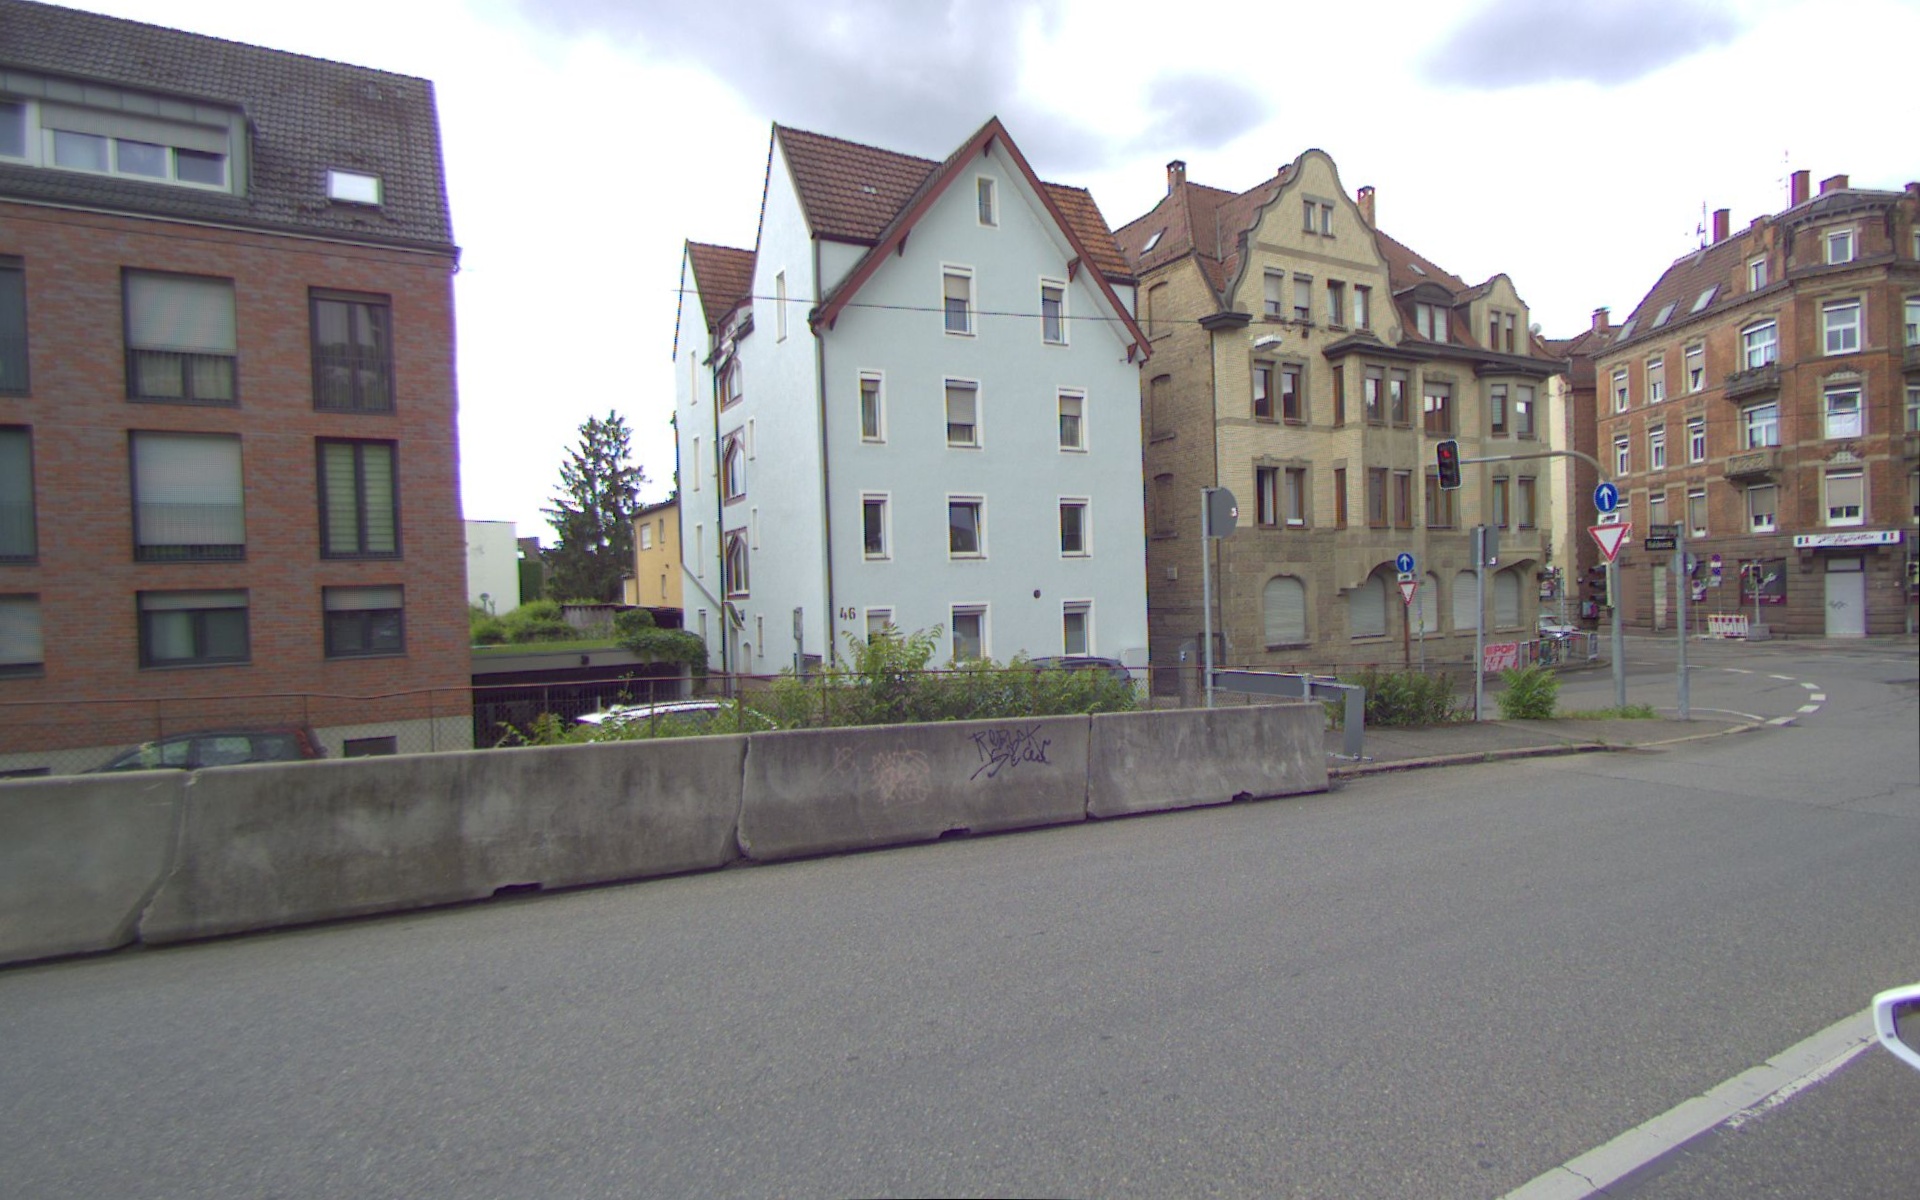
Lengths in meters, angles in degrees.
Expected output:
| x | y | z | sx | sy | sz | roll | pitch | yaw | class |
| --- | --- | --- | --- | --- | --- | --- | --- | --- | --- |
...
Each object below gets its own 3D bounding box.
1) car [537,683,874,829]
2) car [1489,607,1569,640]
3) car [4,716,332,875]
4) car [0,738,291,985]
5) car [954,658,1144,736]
| x | y | z | sx | sy | sz | roll | pitch | yaw | class |
| --- | --- | --- | --- | --- | --- | --- | --- | --- | --- |
| -3.585 | 2.095 | 14.384 | 4.371 | 1.534 | 1.819 | 1 | 0 | -30 | car |
| 26.997 | 1.070 | 47.765 | 1.642 | 1.487 | 3.642 | 0 | 0 | -2 | car |
| -11.922 | 2.879 | 15.467 | 3.722 | 1.825 | 1.706 | 1 | 0 | -30 | car |
| -7.704 | 2.077 | 7.939 | 3.956 | 1.534 | 1.526 | 1 | 0 | -33 | car |
| 2.087 | 2.172 | 23.231 | 4.184 | 1.575 | 1.674 | 1 | -3 | -31 | car |
